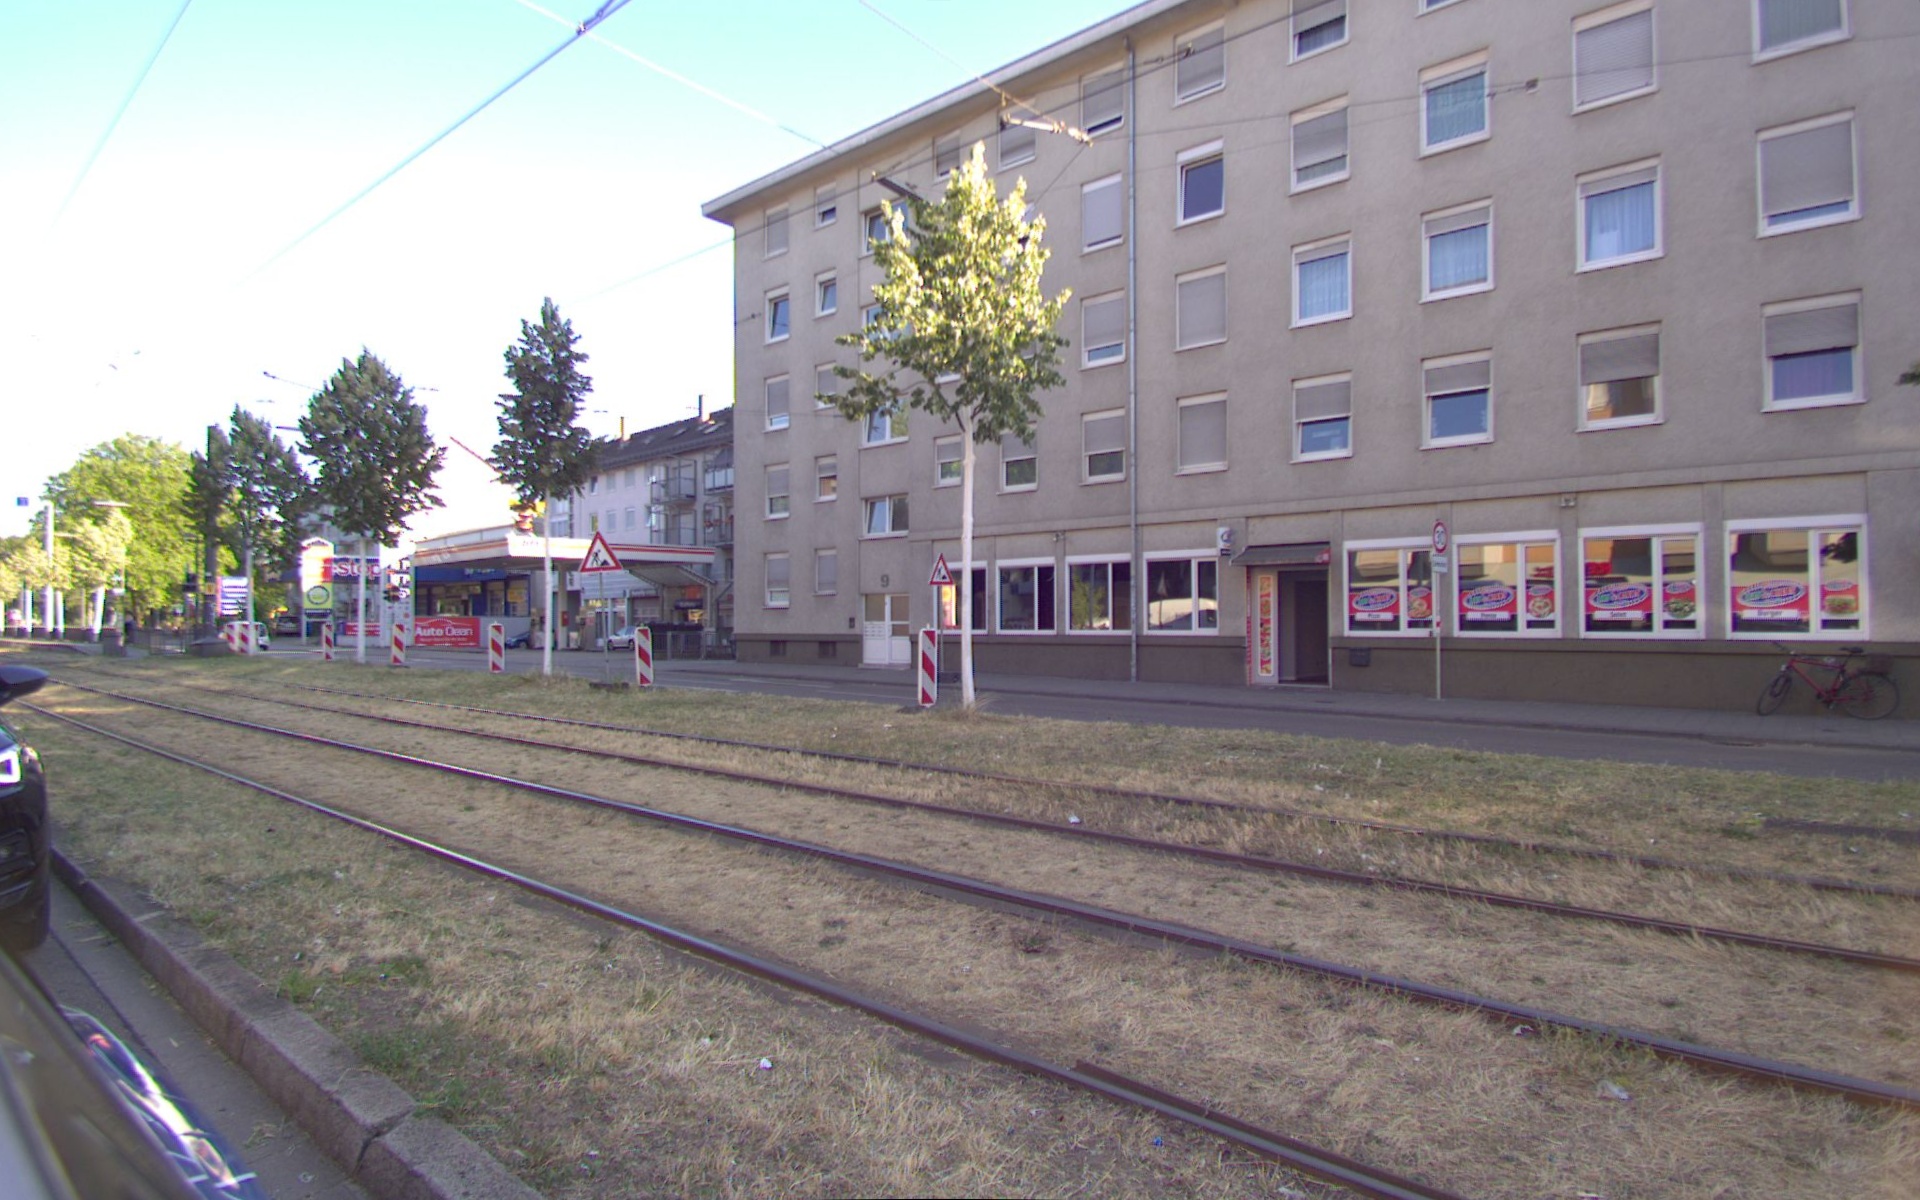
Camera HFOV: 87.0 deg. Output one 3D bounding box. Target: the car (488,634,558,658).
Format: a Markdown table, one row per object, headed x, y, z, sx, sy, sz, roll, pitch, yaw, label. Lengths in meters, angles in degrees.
| x | y | z | sx | sy | sz | roll | pitch | yaw | label |
| --- | --- | --- | --- | --- | --- | --- | --- | --- | --- |
| -28.436 | 2.964 | 65.924 | 1.818 | 1.535 | 3.752 | -2 | -2 | 43 | car |

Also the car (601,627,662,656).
| x | y | z | sx | sy | sz | roll | pitch | yaw | label |
| --- | --- | --- | --- | --- | --- | --- | --- | --- | --- |
| -19.431 | 2.434 | 59.769 | 3.828 | 1.535 | 1.792 | -1 | 0 | 43 | car |

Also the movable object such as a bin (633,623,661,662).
| x | y | z | sx | sy | sz | roll | pitch | yaw | label |
| --- | --- | --- | --- | --- | --- | --- | --- | --- | --- |
| -11.356 | 1.538 | 36.724 | 0.748 | 1.411 | 0.656 | -2 | -2 | 39 | movable object such as a bin |

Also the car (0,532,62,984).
| x | y | z | sx | sy | sz | roll | pitch | yaw | label |
| --- | --- | --- | --- | --- | --- | --- | --- | --- | --- |
| -5.502 | 0.624 | 4.394 | 4.083 | 1.628 | 1.886 | -2 | 0 | 41 | car |

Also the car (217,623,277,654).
| x | y | z | sx | sy | sz | roll | pitch | yaw | label |
| --- | --- | --- | --- | --- | --- | --- | --- | --- | --- |
| -36.834 | 1.964 | 52.255 | 3.829 | 1.523 | 1.792 | -1 | -3 | 43 | car |

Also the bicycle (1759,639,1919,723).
| x | y | z | sx | sy | sz | roll | pitch | yaw | label |
| --- | --- | --- | --- | --- | --- | --- | --- | --- | --- |
| 12.715 | 1.138 | 14.626 | 1.777 | 1.123 | 0.739 | -2 | -2 | 41 | bicycle |
